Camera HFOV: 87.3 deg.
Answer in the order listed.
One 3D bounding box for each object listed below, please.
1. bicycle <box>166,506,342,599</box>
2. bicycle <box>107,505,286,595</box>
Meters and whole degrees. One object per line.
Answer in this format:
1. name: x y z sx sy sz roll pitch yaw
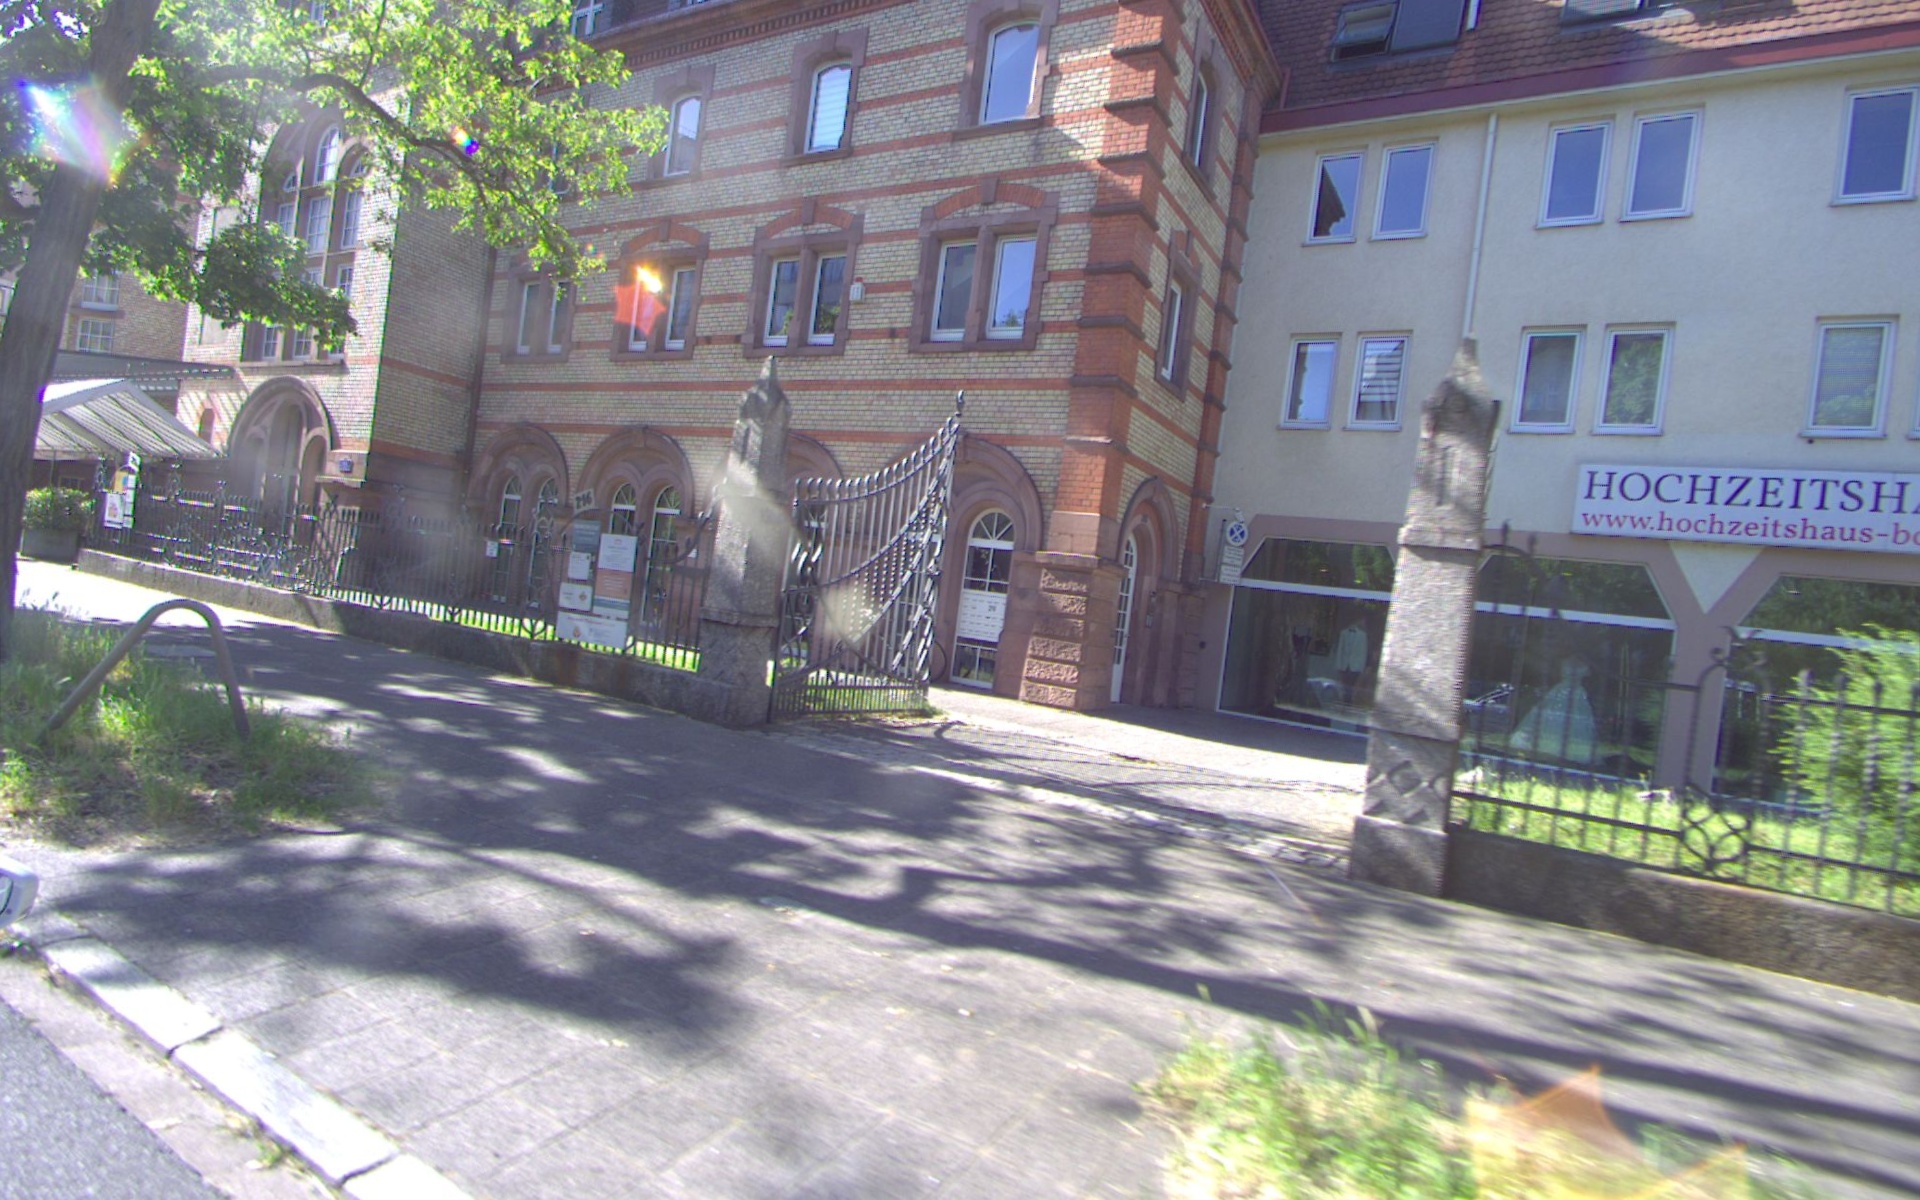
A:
1. bicycle: -11.372 -0.728 16.305 0.675 1.192 2.202 6 -1 25
2. bicycle: -12.561 -0.790 16.644 0.675 1.192 2.202 6 -1 25
